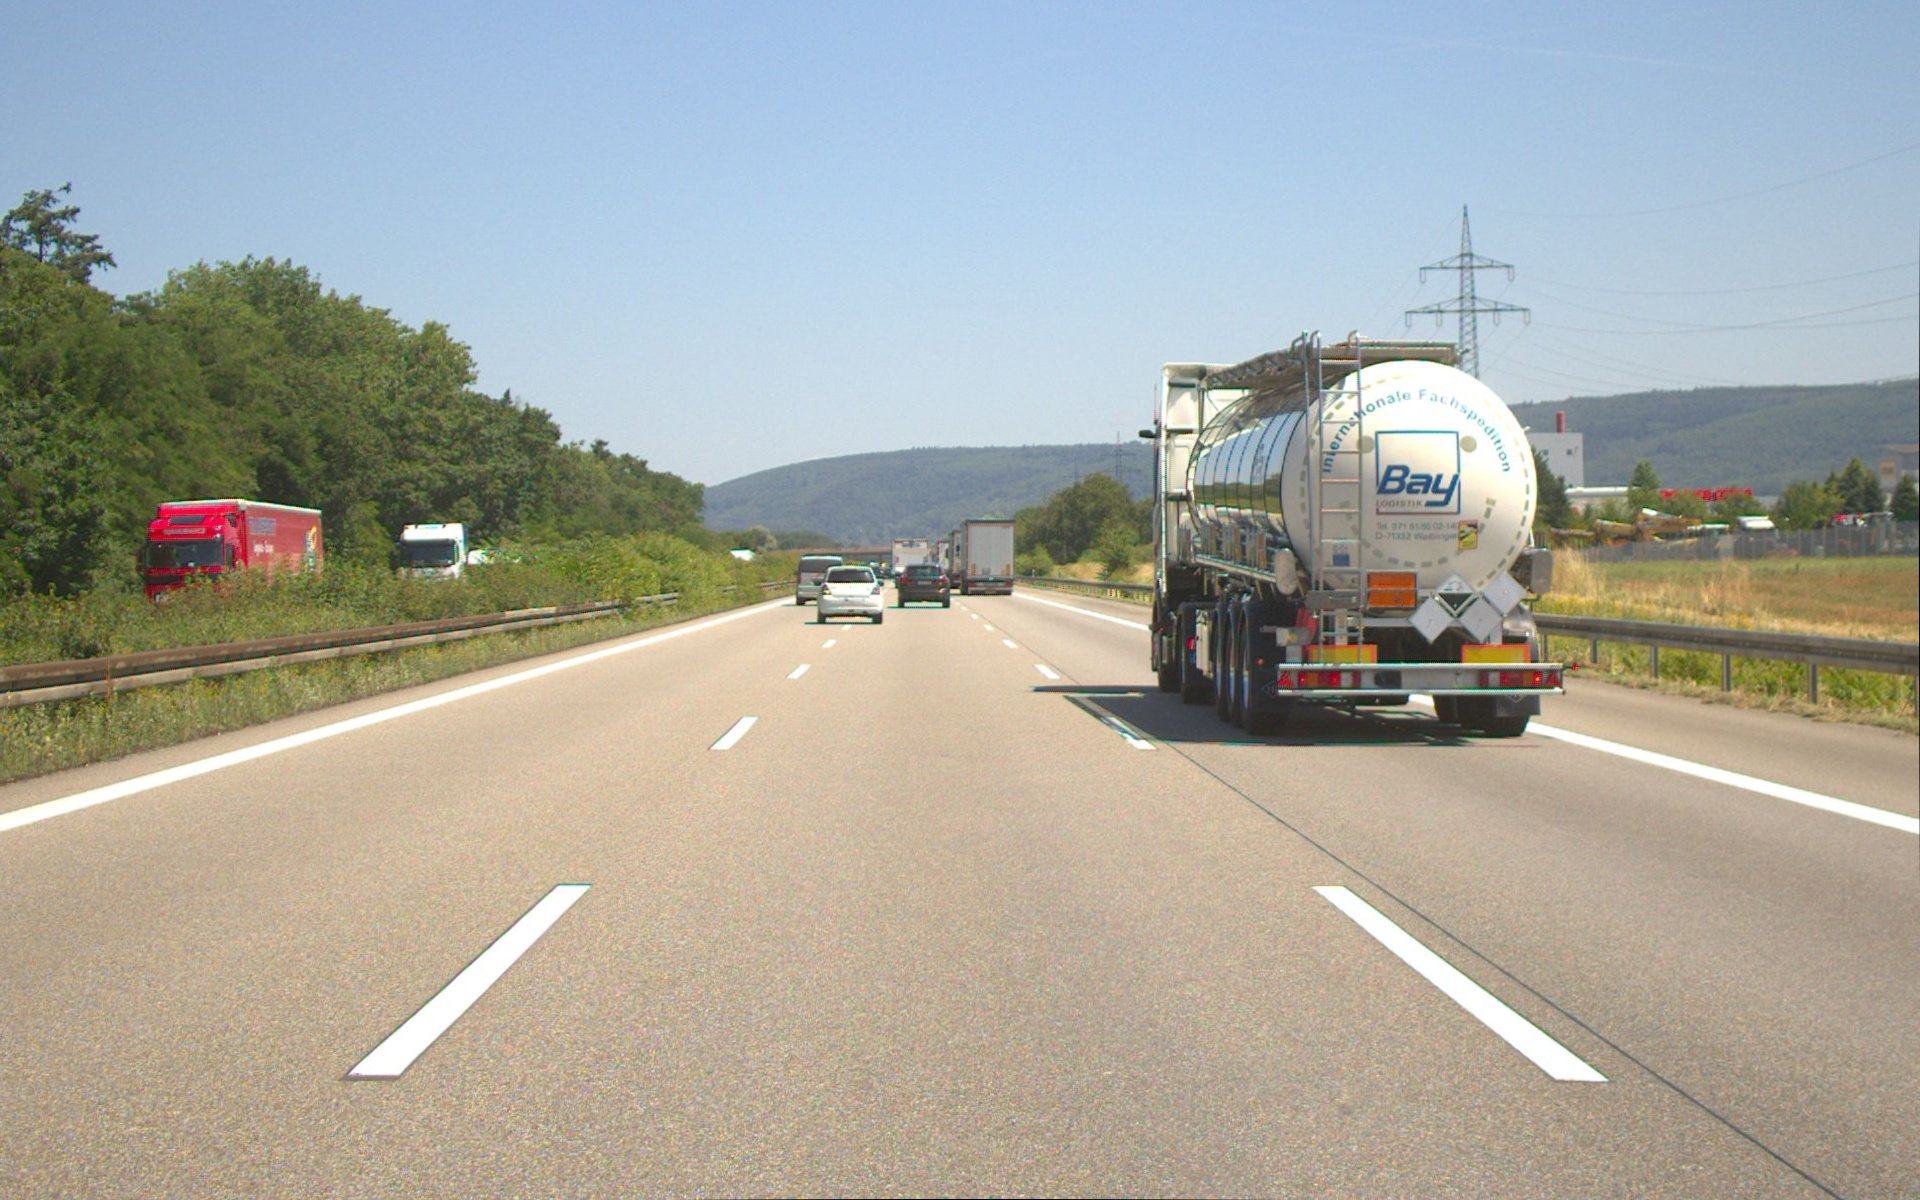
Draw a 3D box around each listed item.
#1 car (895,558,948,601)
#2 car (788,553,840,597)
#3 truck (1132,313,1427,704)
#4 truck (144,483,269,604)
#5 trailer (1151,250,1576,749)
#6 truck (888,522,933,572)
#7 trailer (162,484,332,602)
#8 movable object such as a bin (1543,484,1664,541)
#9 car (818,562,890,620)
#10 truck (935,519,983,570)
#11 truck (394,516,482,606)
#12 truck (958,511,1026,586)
[{"bbox_3d":[-1.399,-0.753,125.646,1.885,1.510,4.000,1,1,-1],"label":"car"},{"bbox_3d":[-5.589,-0.961,131.894,1.852,1.627,4.000,1,1,-1],"label":"car"},{"bbox_3d":[3.514,-1.005,39.288,2.573,4.058,6.393,1,1,-1],"label":"truck"},{"bbox_3d":[-21.981,-1.652,100.504,2.598,3.410,5.117,1,1,-1],"label":"truck"},{"bbox_3d":[3.632,-0.910,33.869,2.580,4.060,11.104,1,1,-1],"label":"trailer"},{"bbox_3d":[-3.586,-3.781,245.799,3.097,3.463,11.543,1,1,-1],"label":"truck"},{"bbox_3d":[-22.120,-1.764,107.494,2.586,3.405,14.157,1,1,-1],"label":"trailer"},{"bbox_3d":[45.944,-6.249,245.646,8.188,3.719,3.336,-2,0,7],"label":"movable object such as a bin"},{"bbox_3d":[-2.779,-0.263,91.064,1.806,1.463,4.000,1,1,-1],"label":"car"},{"bbox_3d":[-0.089,-3.931,241.939,3.097,3.463,11.543,1,1,-1],"label":"truck"},{"bbox_3d":[-22.220,-1.692,146.496,2.591,3.693,6.827,1,1,1],"label":"truck"},{"bbox_3d":[1.662,-2.753,184.812,3.265,3.844,11.632,1,1,-1],"label":"truck"}]
